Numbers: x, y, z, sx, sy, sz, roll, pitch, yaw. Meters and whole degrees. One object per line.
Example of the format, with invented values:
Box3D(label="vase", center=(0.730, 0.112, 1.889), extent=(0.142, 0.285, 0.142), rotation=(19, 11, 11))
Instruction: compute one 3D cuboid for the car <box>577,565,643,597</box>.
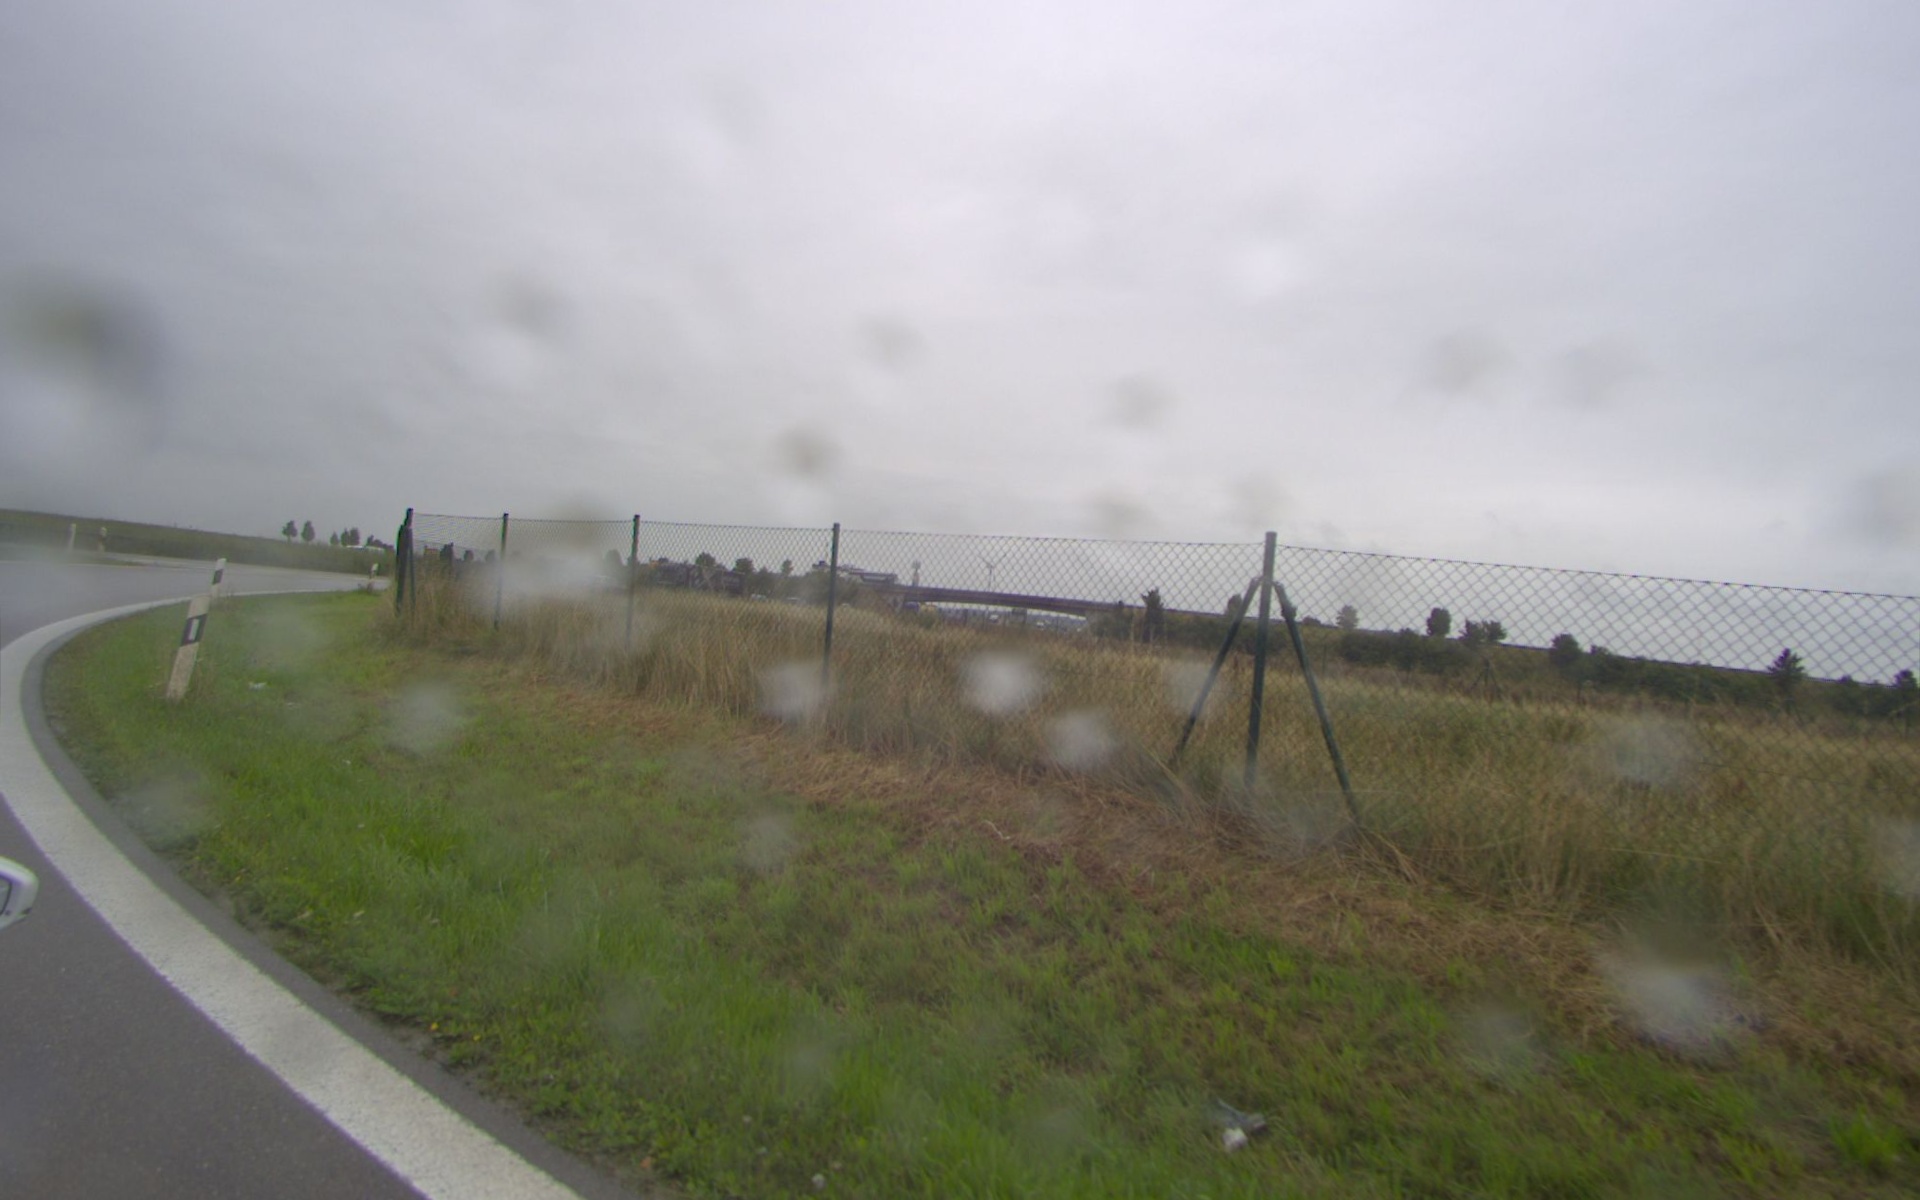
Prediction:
Box3D(label="car", center=(-23.413, -1.234, 67.454), extent=(2.020, 1.655, 4.353), rotation=(6, -1, 12))

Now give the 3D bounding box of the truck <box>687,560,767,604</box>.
Box3D(label="truck", center=(-27.471, -1.986, 119.568), extent=(3.144, 4.013, 13.824), rotation=(8, -1, 13))

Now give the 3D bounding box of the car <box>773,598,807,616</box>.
Box3D(label="car", center=(-16.952, 0.697, 100.546), extent=(1.962, 1.719, 3.999), rotation=(3, 0, 12))
